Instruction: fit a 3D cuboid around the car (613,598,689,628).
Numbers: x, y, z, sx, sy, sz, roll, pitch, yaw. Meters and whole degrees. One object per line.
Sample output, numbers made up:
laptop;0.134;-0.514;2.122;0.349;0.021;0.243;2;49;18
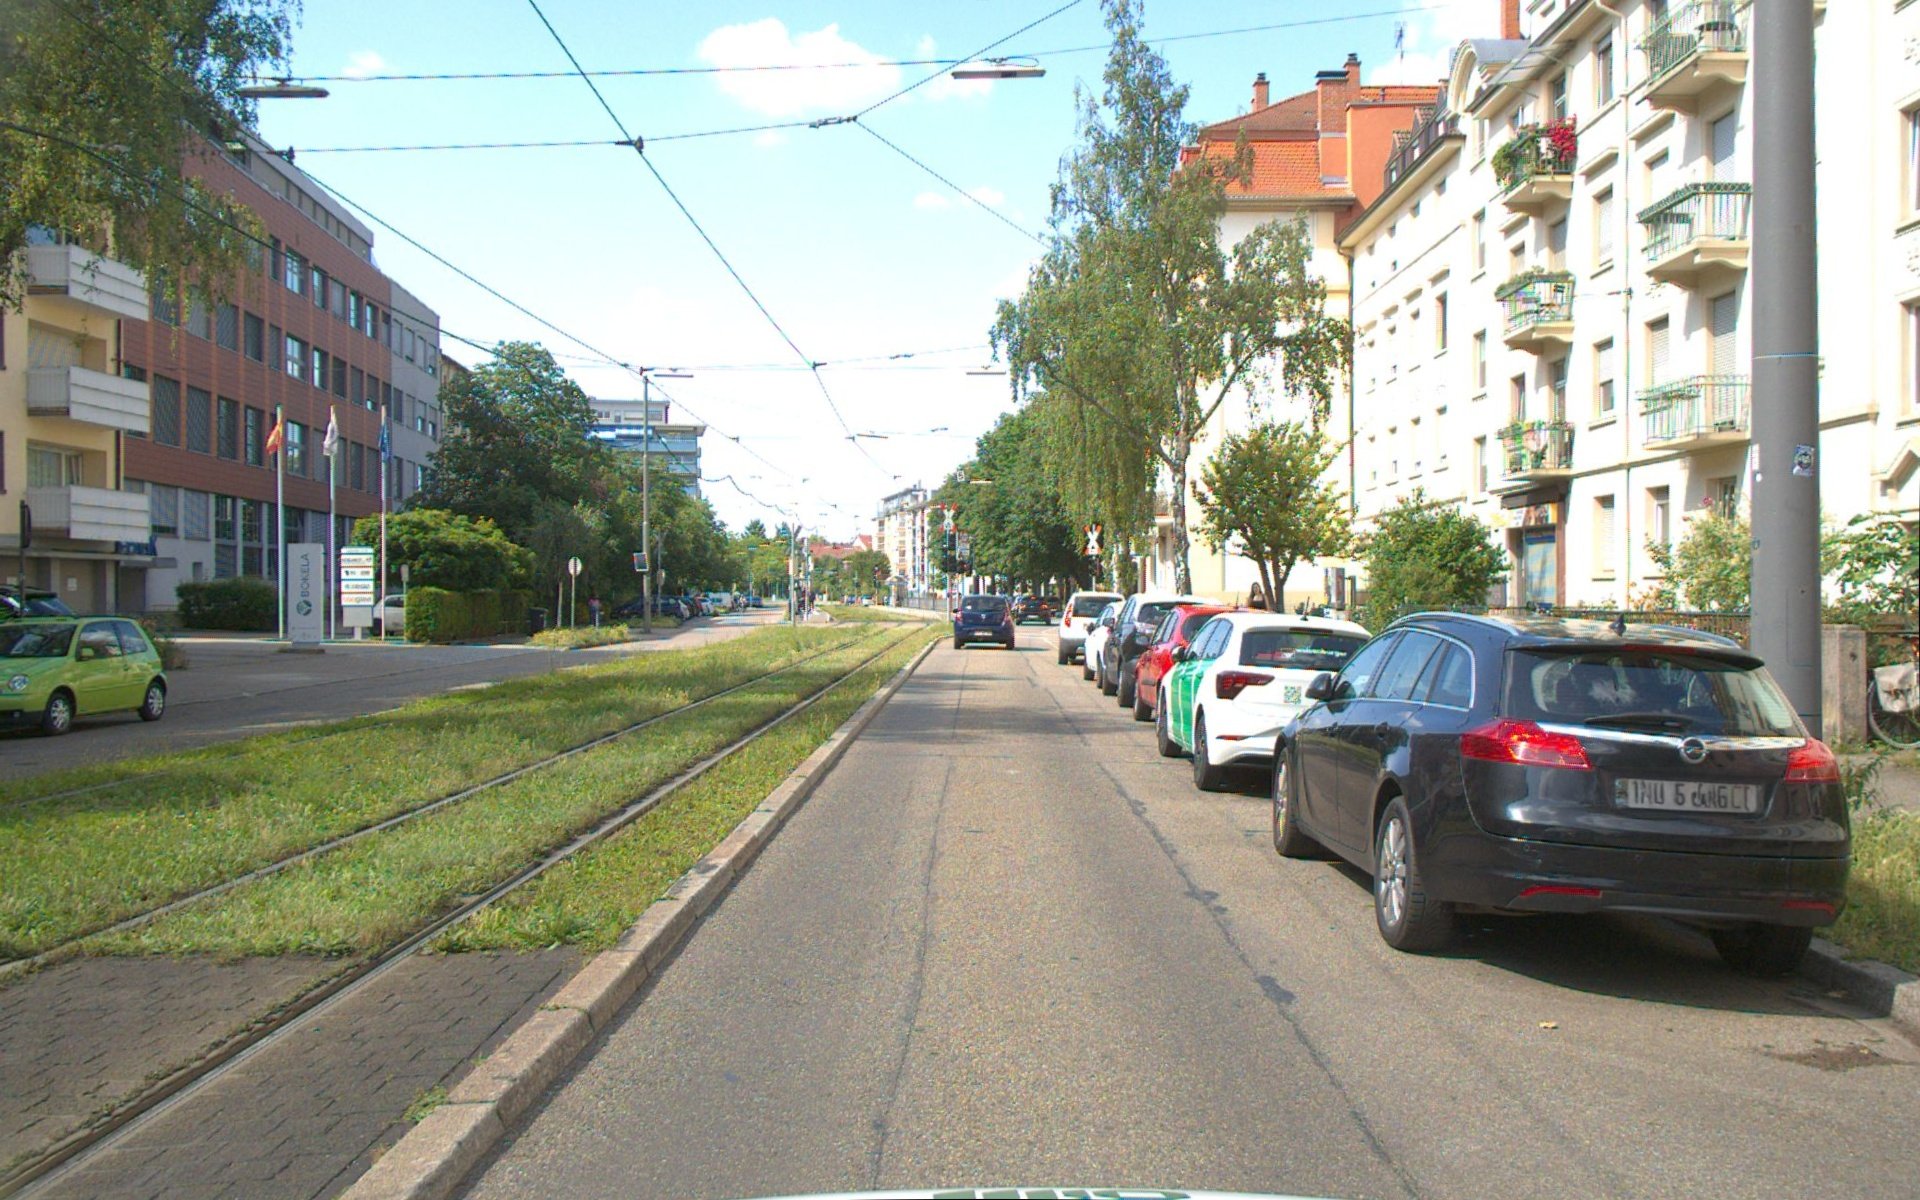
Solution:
car;-17.928;0.755;96.155;4.102;1.669;1.697;-1;0;-45

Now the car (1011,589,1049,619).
car;3.488;0.188;83.035;1.665;1.392;3.514;2;0;-1

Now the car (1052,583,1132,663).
car;2.990;0.499;37.882;1.685;1.658;4.002;2;0;3

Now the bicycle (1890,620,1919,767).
bicycle;7.418;0.705;11.745;0.461;1.096;2.183;-1;0;2

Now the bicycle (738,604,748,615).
bicycle;-19.763;0.867;150.915;0.667;0.988;2.178;-1;0;-1

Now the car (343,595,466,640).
car;-20.597;0.625;61.416;3.907;1.624;1.999;0;0;-2

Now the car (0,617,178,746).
car;-11.775;0.995;21.308;1.561;1.457;3.615;-1;0;2

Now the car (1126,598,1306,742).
car;2.975;0.762;19.924;1.556;1.478;3.845;3;0;1

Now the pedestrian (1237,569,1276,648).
pedestrian;6.598;0.179;36.802;0.714;1.712;0.691;-2;0;4

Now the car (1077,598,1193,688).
car;3.064;0.715;29.622;1.638;1.441;3.795;2;0;0

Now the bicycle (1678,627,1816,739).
bicycle;7.505;0.763;15.861;0.370;0.960;2.009;0;0;0

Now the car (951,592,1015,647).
car;0.696;0.520;47.382;1.731;1.487;3.776;1;0;2

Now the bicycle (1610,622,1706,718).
bicycle;7.495;0.731;17.814;0.379;0.955;1.585;0;0;0

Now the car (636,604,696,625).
car;-18.076;0.898;101.804;3.364;1.258;1.519;-1;0;-45

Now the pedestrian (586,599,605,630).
pedestrian;-18.743;0.744;85.001;0.729;1.601;0.889;-1;-2;3

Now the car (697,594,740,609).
car;-24.227;0.156;165.843;3.962;1.472;1.703;-1;0;-40

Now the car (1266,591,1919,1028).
car;2.857;0.767;8.364;1.755;1.547;4.526;2;0;0

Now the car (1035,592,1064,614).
car;6.354;0.238;117.811;1.823;1.470;4.000;-2;0;0

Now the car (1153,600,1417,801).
car;2.762;0.785;14.865;1.586;1.478;3.919;3;0;1

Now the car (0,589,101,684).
car;-18.155;0.619;30.176;3.905;1.630;1.973;1;0;1

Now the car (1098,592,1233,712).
car;2.985;0.705;24.608;1.463;1.607;3.758;2;0;-1

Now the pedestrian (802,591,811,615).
pedestrian;-11.359;0.236;122.297;0.591;1.797;0.639;0;0;4

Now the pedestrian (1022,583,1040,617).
pedestrian;3.877;-0.004;90.125;0.853;1.806;1.003;0;0;-4

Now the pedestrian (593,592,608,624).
pedestrian;-19.051;0.441;87.636;0.545;1.686;0.747;-1;-1;3

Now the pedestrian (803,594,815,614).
pedestrian;-11.217;0.287;122.762;0.642;1.451;0.562;-1;0;32
